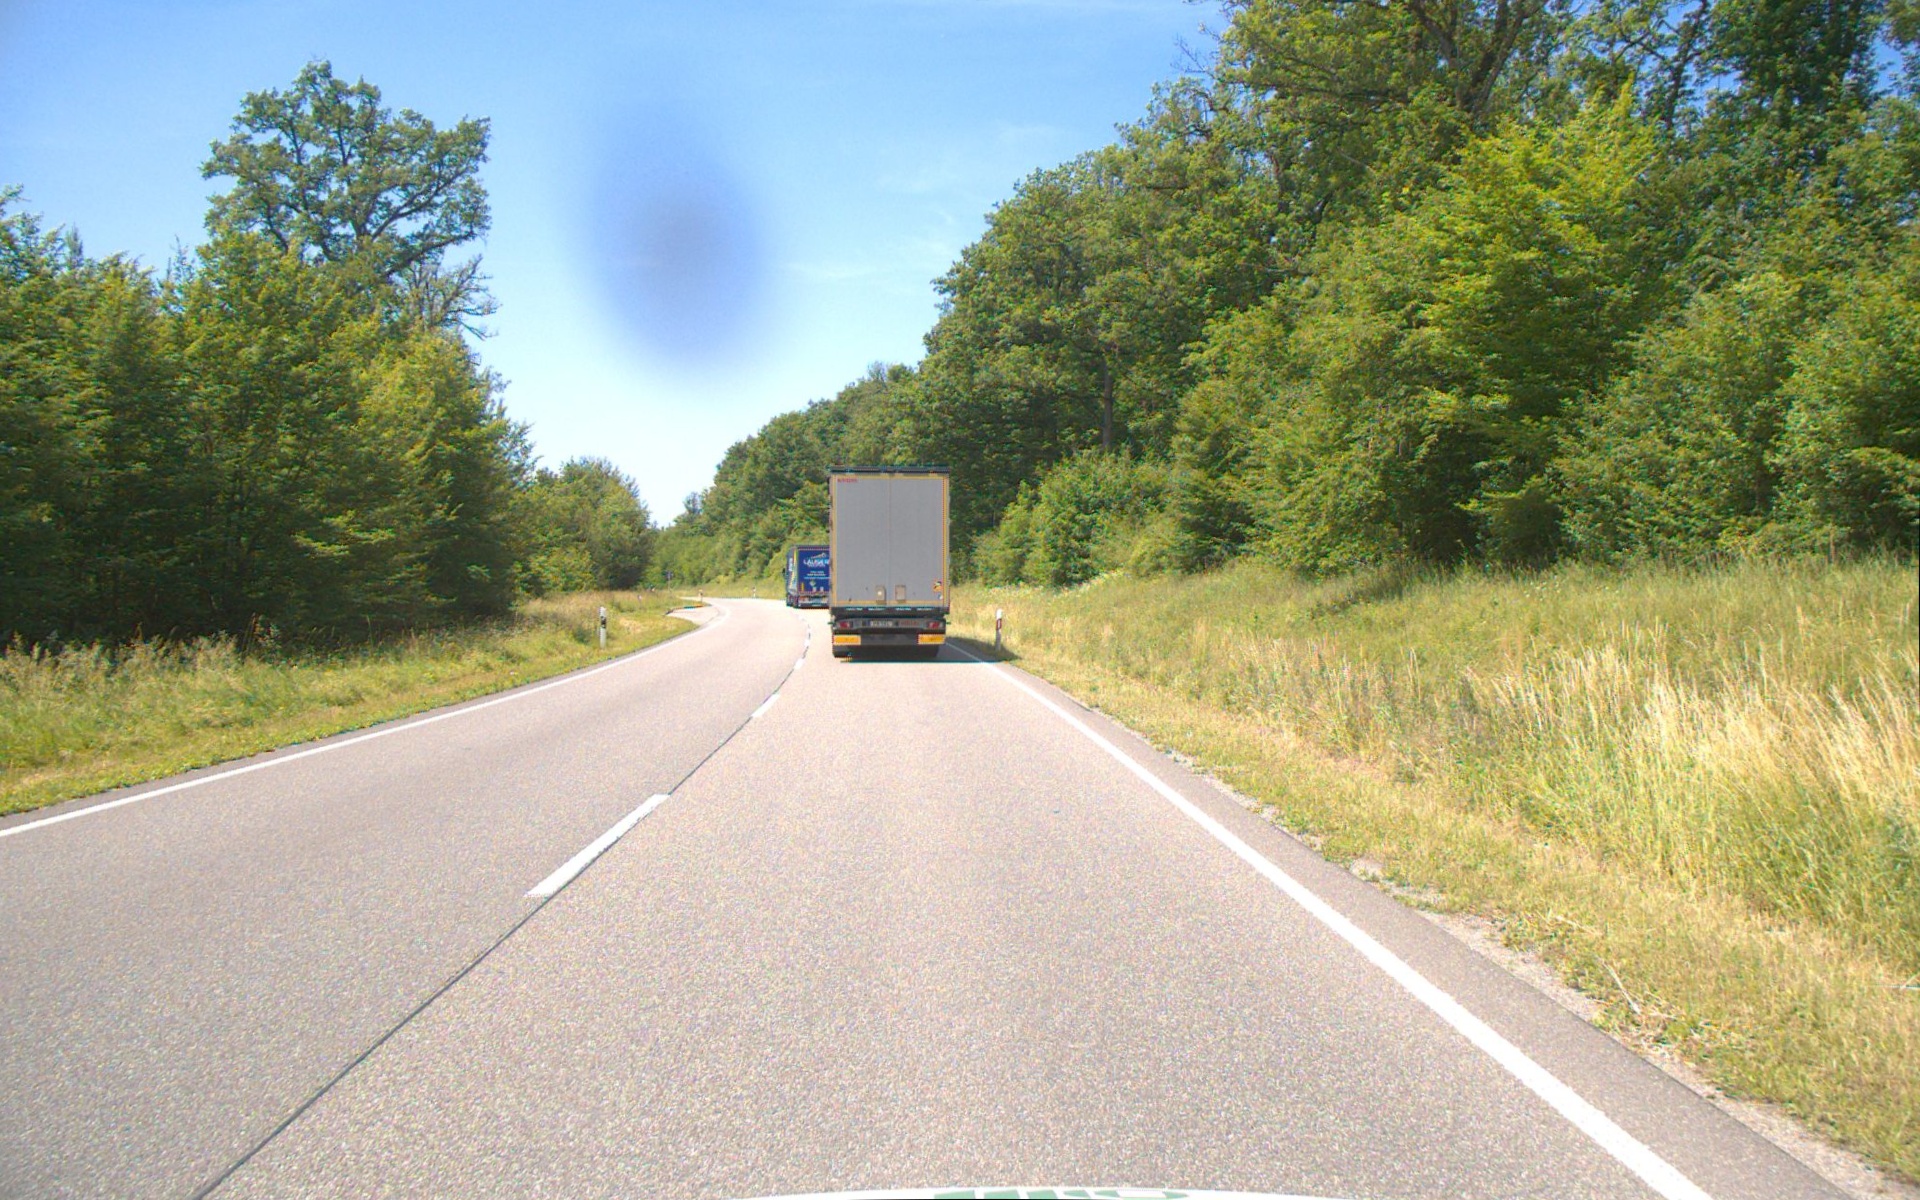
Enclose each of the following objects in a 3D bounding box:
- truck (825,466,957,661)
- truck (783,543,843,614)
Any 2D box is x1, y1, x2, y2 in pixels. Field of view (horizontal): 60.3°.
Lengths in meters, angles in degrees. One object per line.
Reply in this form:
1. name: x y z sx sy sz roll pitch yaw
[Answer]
1. truck: -1.754 -0.795 40.206 2.706 4.016 12.190 0 0 -3
2. truck: -10.136 -1.410 112.627 3.720 4.449 14.900 1 0 -6
